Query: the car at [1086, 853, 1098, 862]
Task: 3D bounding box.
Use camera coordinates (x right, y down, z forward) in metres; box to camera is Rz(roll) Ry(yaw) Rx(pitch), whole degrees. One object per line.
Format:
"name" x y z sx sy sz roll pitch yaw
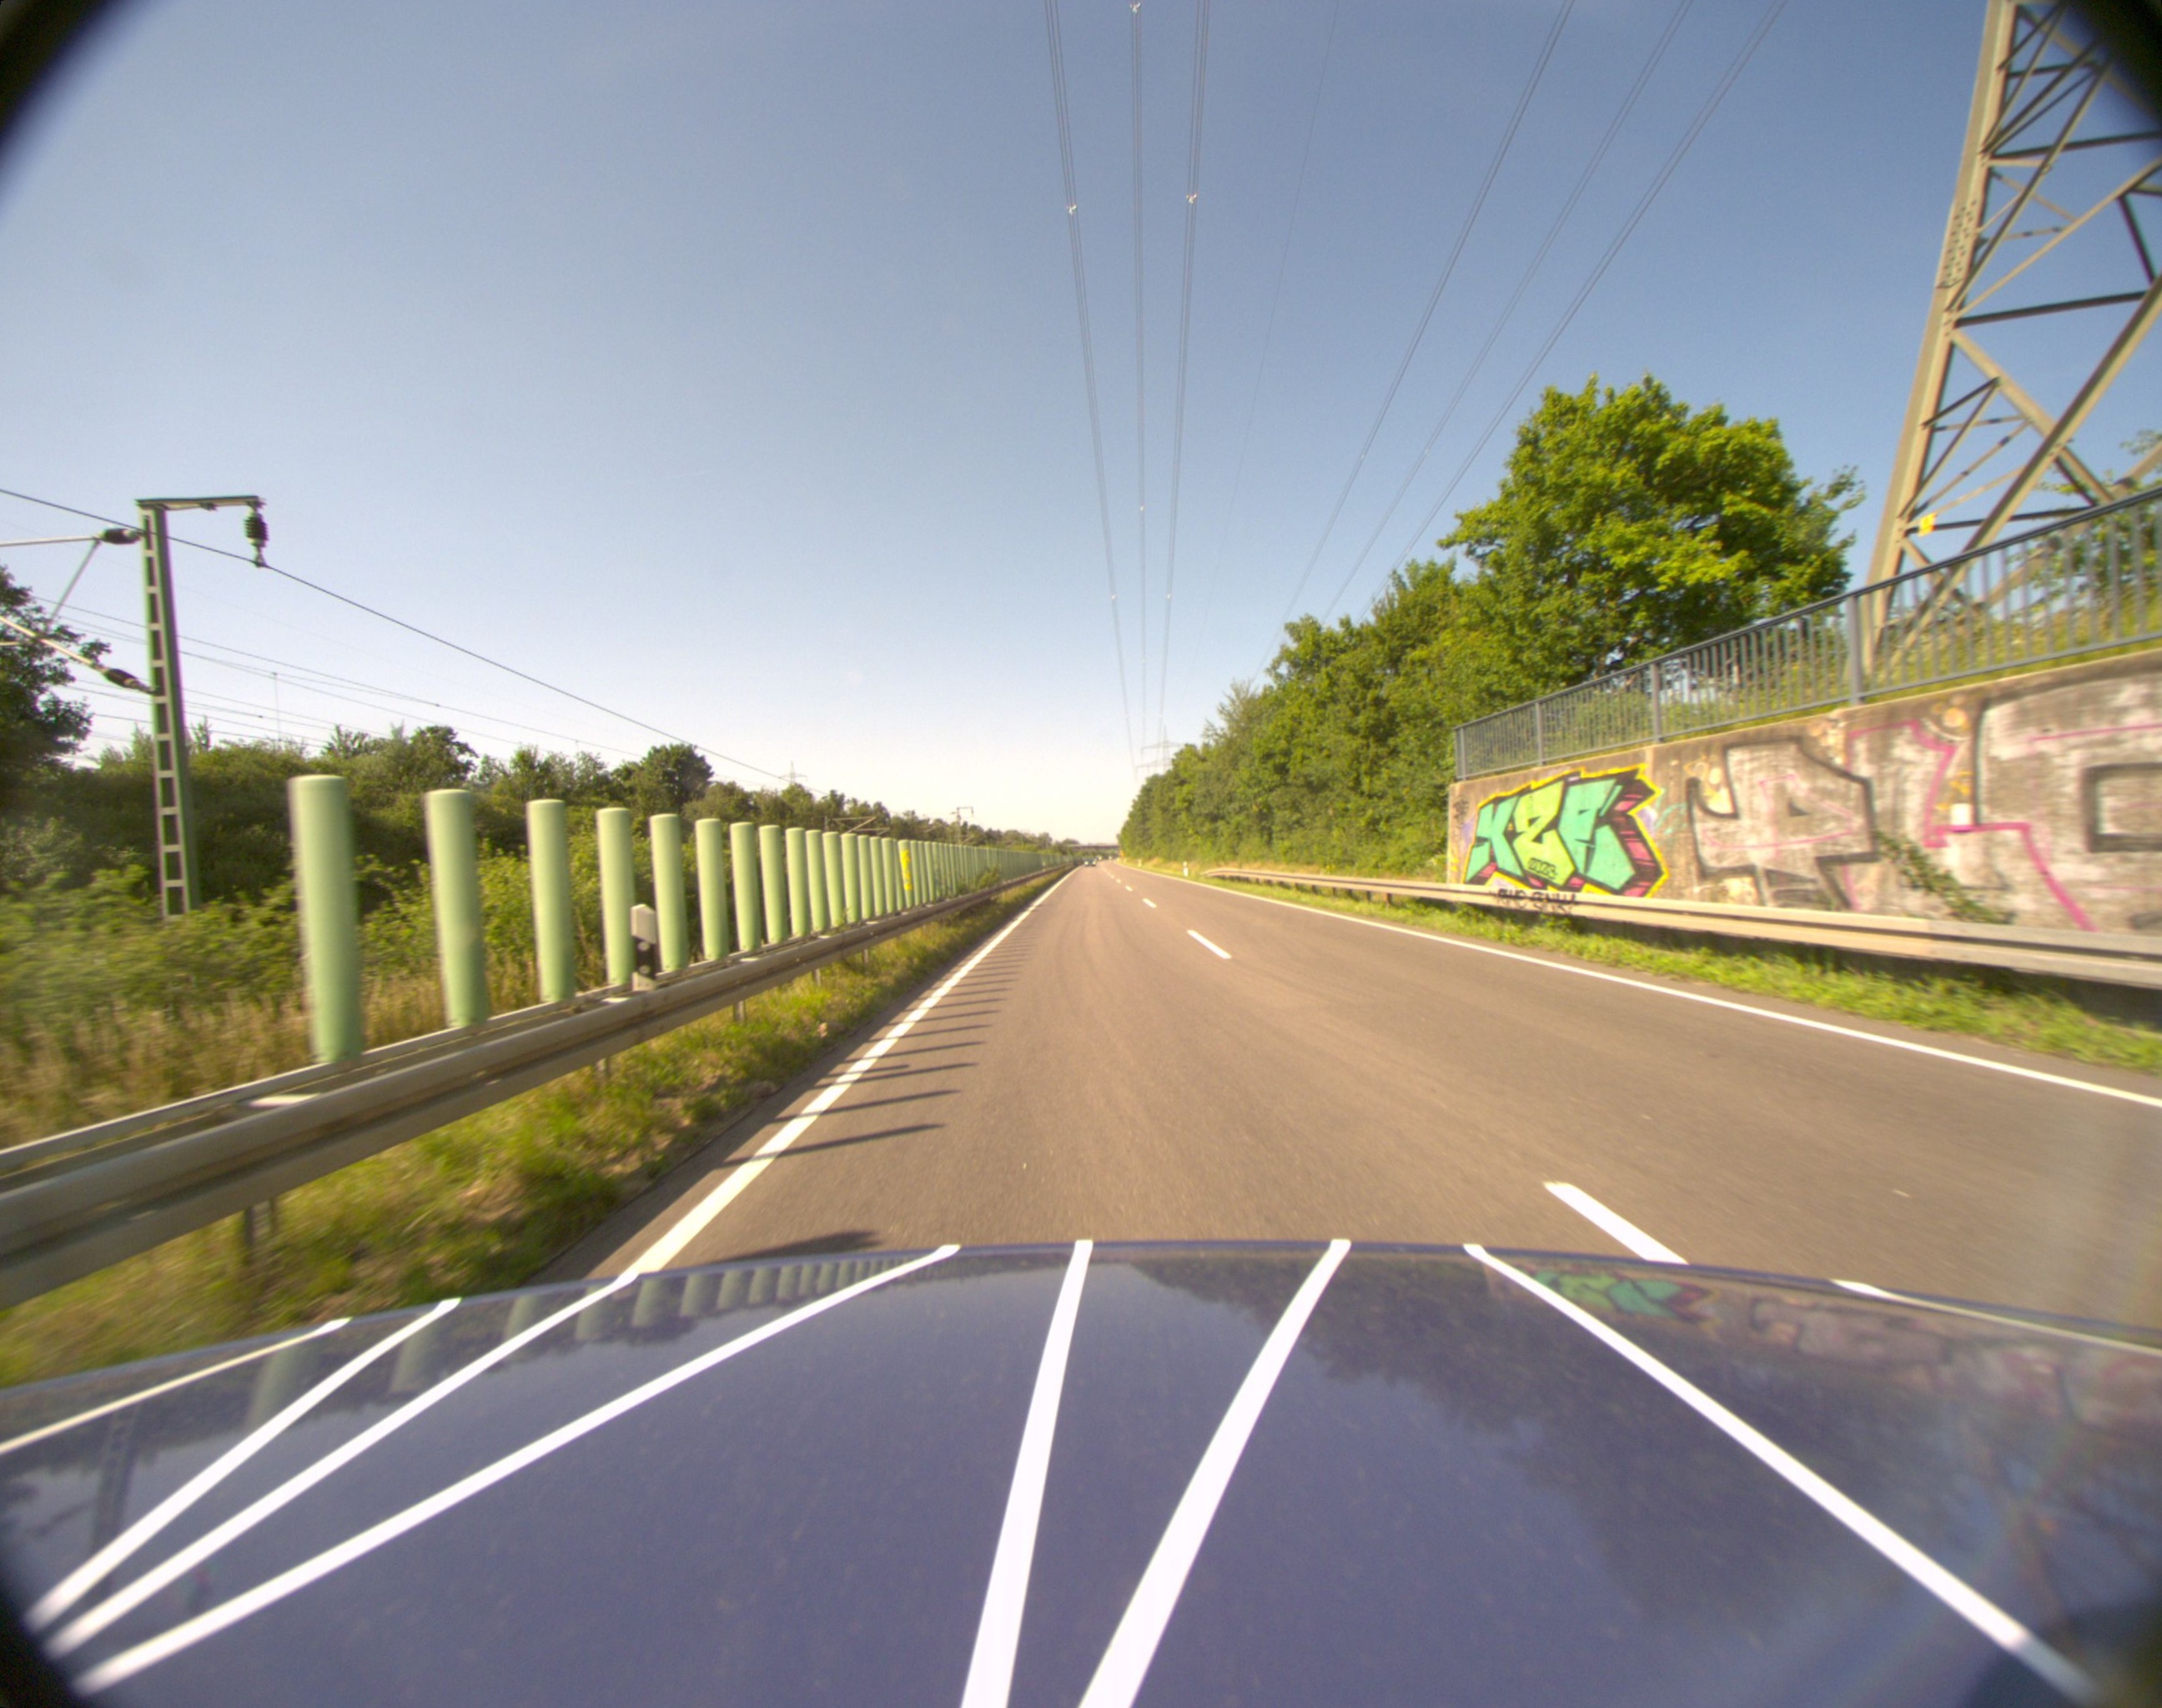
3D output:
"car" 1.867 0.593 128.091 1.787 1.550 4.001 -1 0 3
